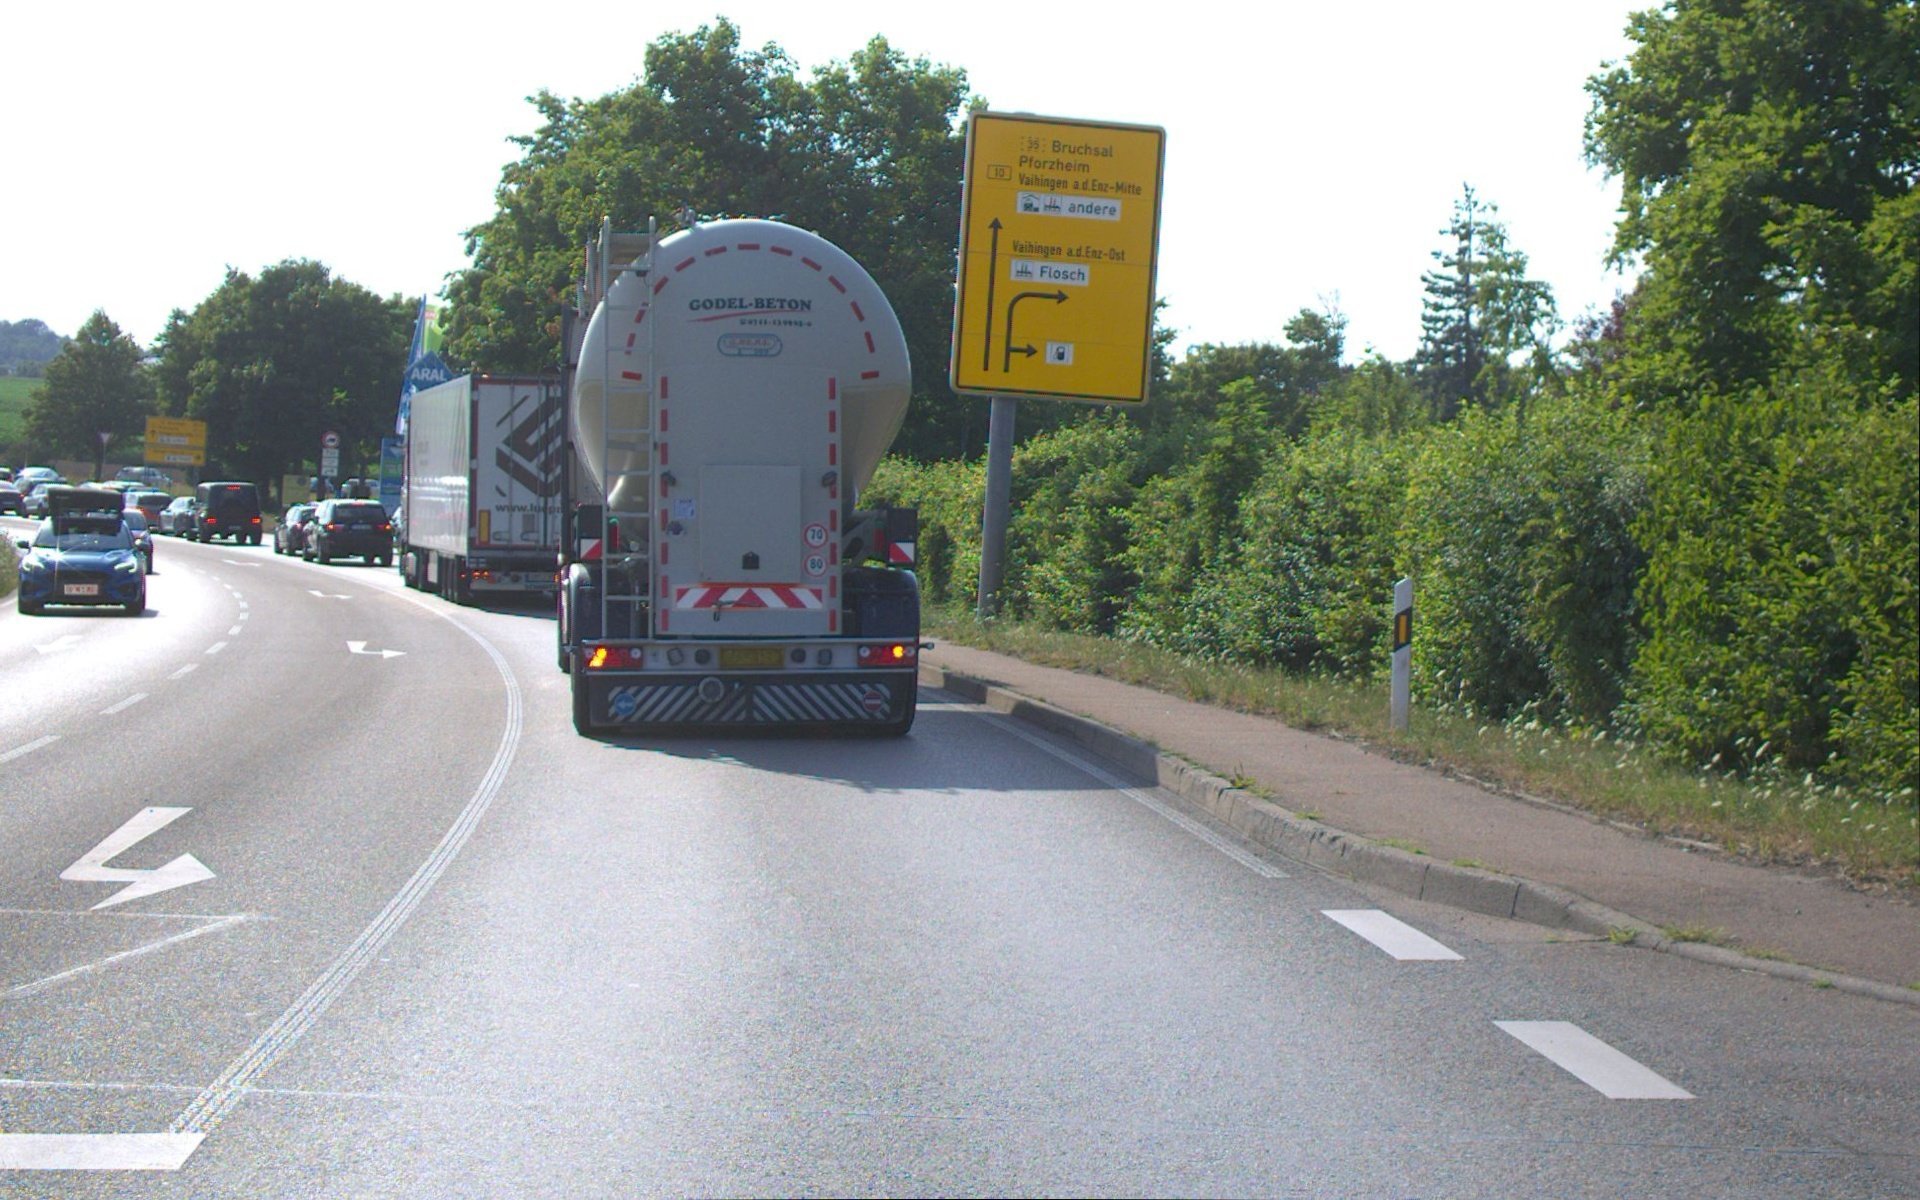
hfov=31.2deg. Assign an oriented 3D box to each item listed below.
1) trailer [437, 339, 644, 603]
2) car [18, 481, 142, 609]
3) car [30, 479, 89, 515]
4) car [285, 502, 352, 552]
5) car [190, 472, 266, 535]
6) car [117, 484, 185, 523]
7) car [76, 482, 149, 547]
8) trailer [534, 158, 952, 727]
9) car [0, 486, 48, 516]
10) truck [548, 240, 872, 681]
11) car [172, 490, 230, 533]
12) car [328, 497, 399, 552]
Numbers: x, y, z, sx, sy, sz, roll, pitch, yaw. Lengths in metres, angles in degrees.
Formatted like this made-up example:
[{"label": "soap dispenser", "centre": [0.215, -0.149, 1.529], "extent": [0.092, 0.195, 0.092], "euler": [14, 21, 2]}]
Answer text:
[{"label": "trailer", "centre": [-8.088, -2.362, 64.652], "extent": [2.954, 4.300, 14.180], "euler": [2, 1, -10]}, {"label": "car", "centre": [-13.466, -0.866, 52.778], "extent": [1.724, 1.876, 4.337], "euler": [0, 2, -13]}, {"label": "car", "centre": [-36.592, -4.194, 139.672], "extent": [1.580, 1.336, 3.426], "euler": [2, 1, -27]}, {"label": "car", "centre": [-18.505, -2.108, 99.104], "extent": [1.580, 1.336, 3.427], "euler": [2, 1, -15]}, {"label": "car", "centre": [-24.010, -3.173, 112.724], "extent": [1.861, 2.006, 3.720], "euler": [1, 2, -21]}, {"label": "car", "centre": [-29.749, -3.546, 126.372], "extent": [1.580, 1.336, 3.426], "euler": [2, 1, -27]}, {"label": "car", "centre": [-19.674, -1.995, 79.872], "extent": [1.585, 1.461, 3.608], "euler": [0, 2, -13]}, {"label": "trailer", "centre": [-2.059, -1.240, 29.425], "extent": [2.909, 3.992, 9.932], "euler": [1, 1, -6]}, {"label": "car", "centre": [-39.995, -4.212, 145.817], "extent": [1.769, 1.201, 3.426], "euler": [2, 1, -27]}, {"label": "truck", "centre": [-2.513, -1.327, 33.658], "extent": [2.909, 3.992, 4.061], "euler": [1, 1, -6]}, {"label": "car", "centre": [-26.499, -3.091, 120.000], "extent": [1.413, 1.428, 3.148], "euler": [0, 0, -24]}, {"label": "car", "centre": [-15.826, -2.011, 91.125], "extent": [1.580, 1.336, 3.427], "euler": [2, 1, -13]}]
